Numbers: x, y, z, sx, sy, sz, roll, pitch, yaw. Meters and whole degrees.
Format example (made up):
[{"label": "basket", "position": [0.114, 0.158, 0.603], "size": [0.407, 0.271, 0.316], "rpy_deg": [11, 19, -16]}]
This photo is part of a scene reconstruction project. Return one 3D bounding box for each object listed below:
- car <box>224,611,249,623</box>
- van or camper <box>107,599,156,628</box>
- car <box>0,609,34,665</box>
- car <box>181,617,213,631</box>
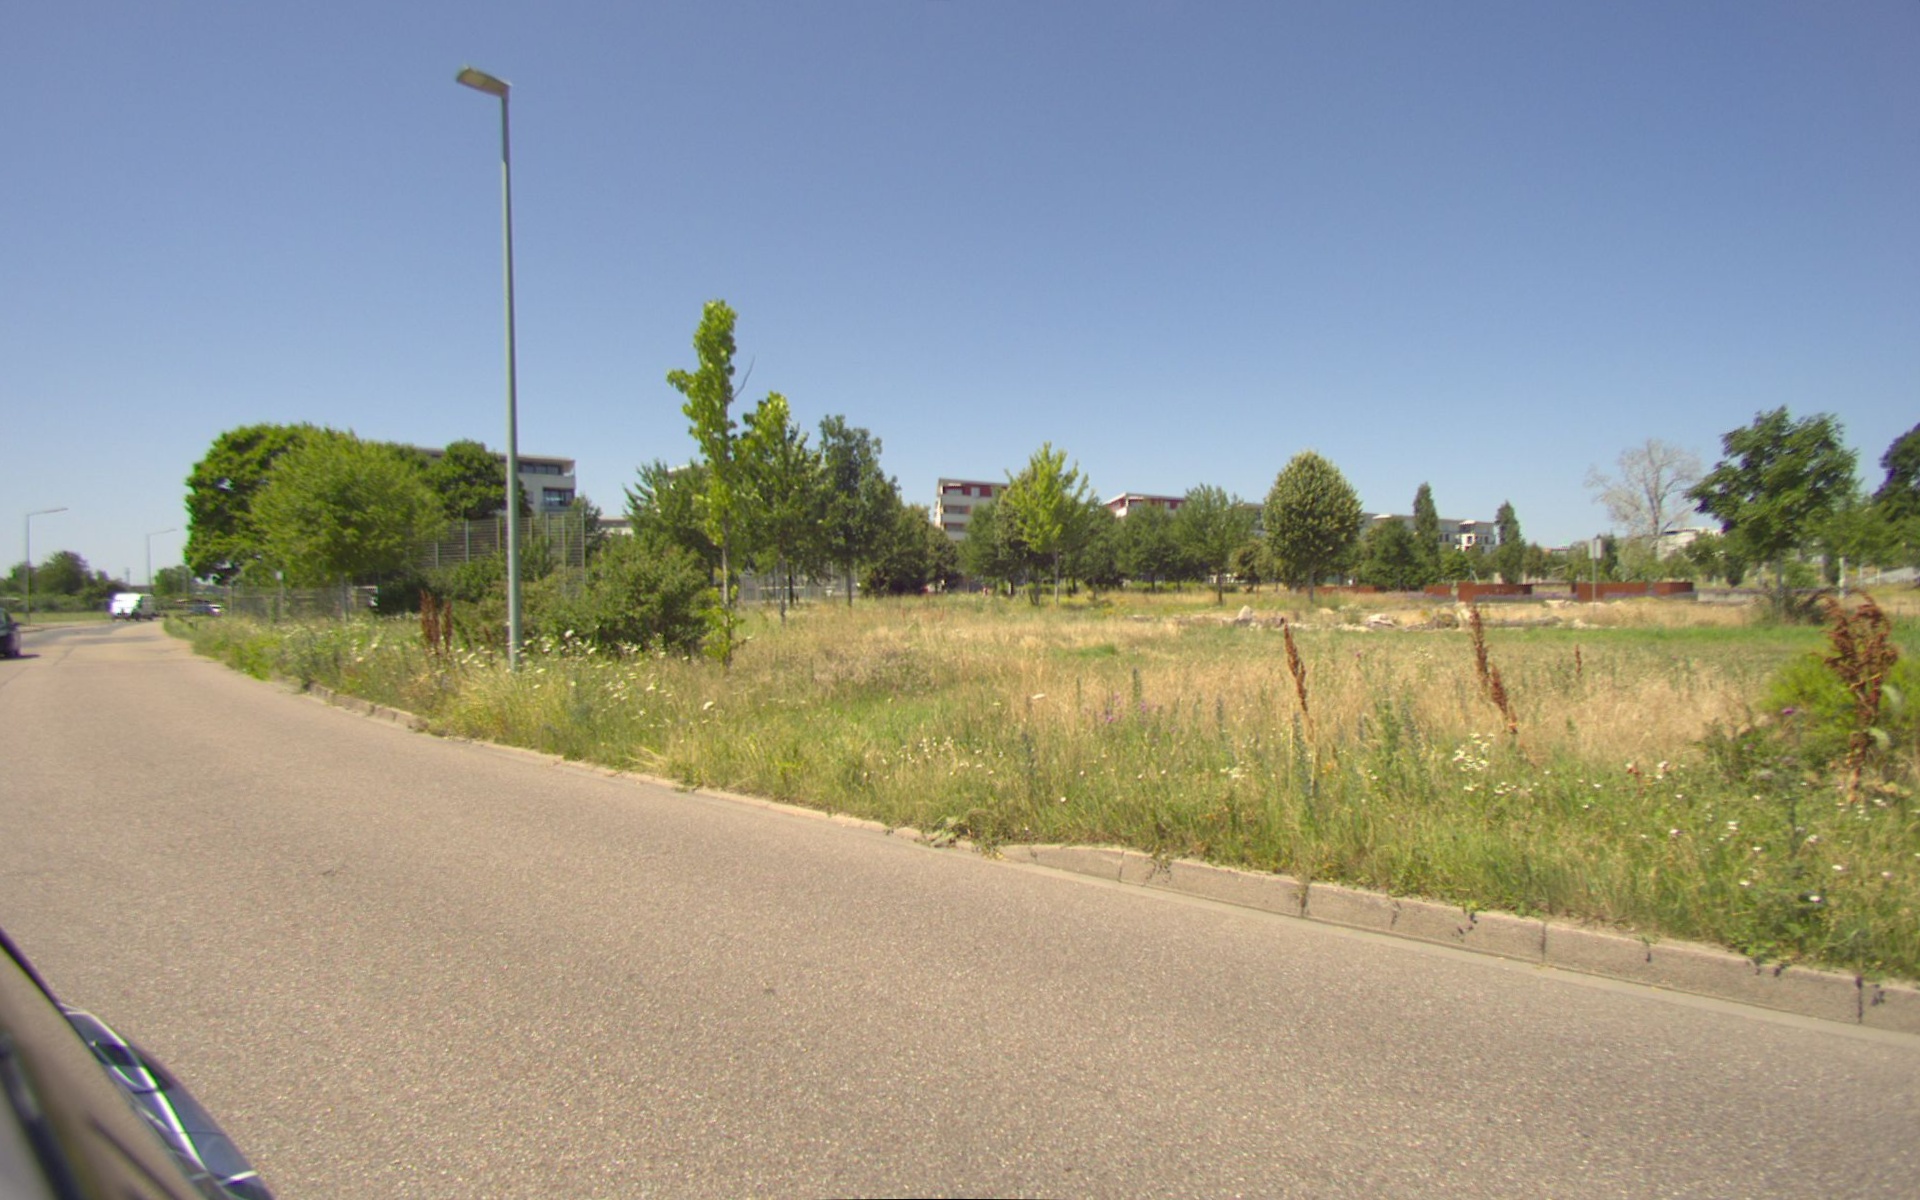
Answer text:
[{"label": "car", "position": [-93.019, 2.165, 130.104], "size": [1.626, 1.477, 3.878], "rpy_deg": [-1, 0, -19]}, {"label": "van or camper", "position": [-76.236, 1.236, 93.244], "size": [2.105, 2.592, 5.885], "rpy_deg": [-1, 0, -26]}, {"label": "car", "position": [-27.127, 1.021, 28.065], "size": [1.628, 1.477, 4.169], "rpy_deg": [-1, 0, -36]}, {"label": "car", "position": [-85.869, 2.643, 113.955], "size": [1.627, 1.477, 3.878], "rpy_deg": [-1, 0, -18]}]
